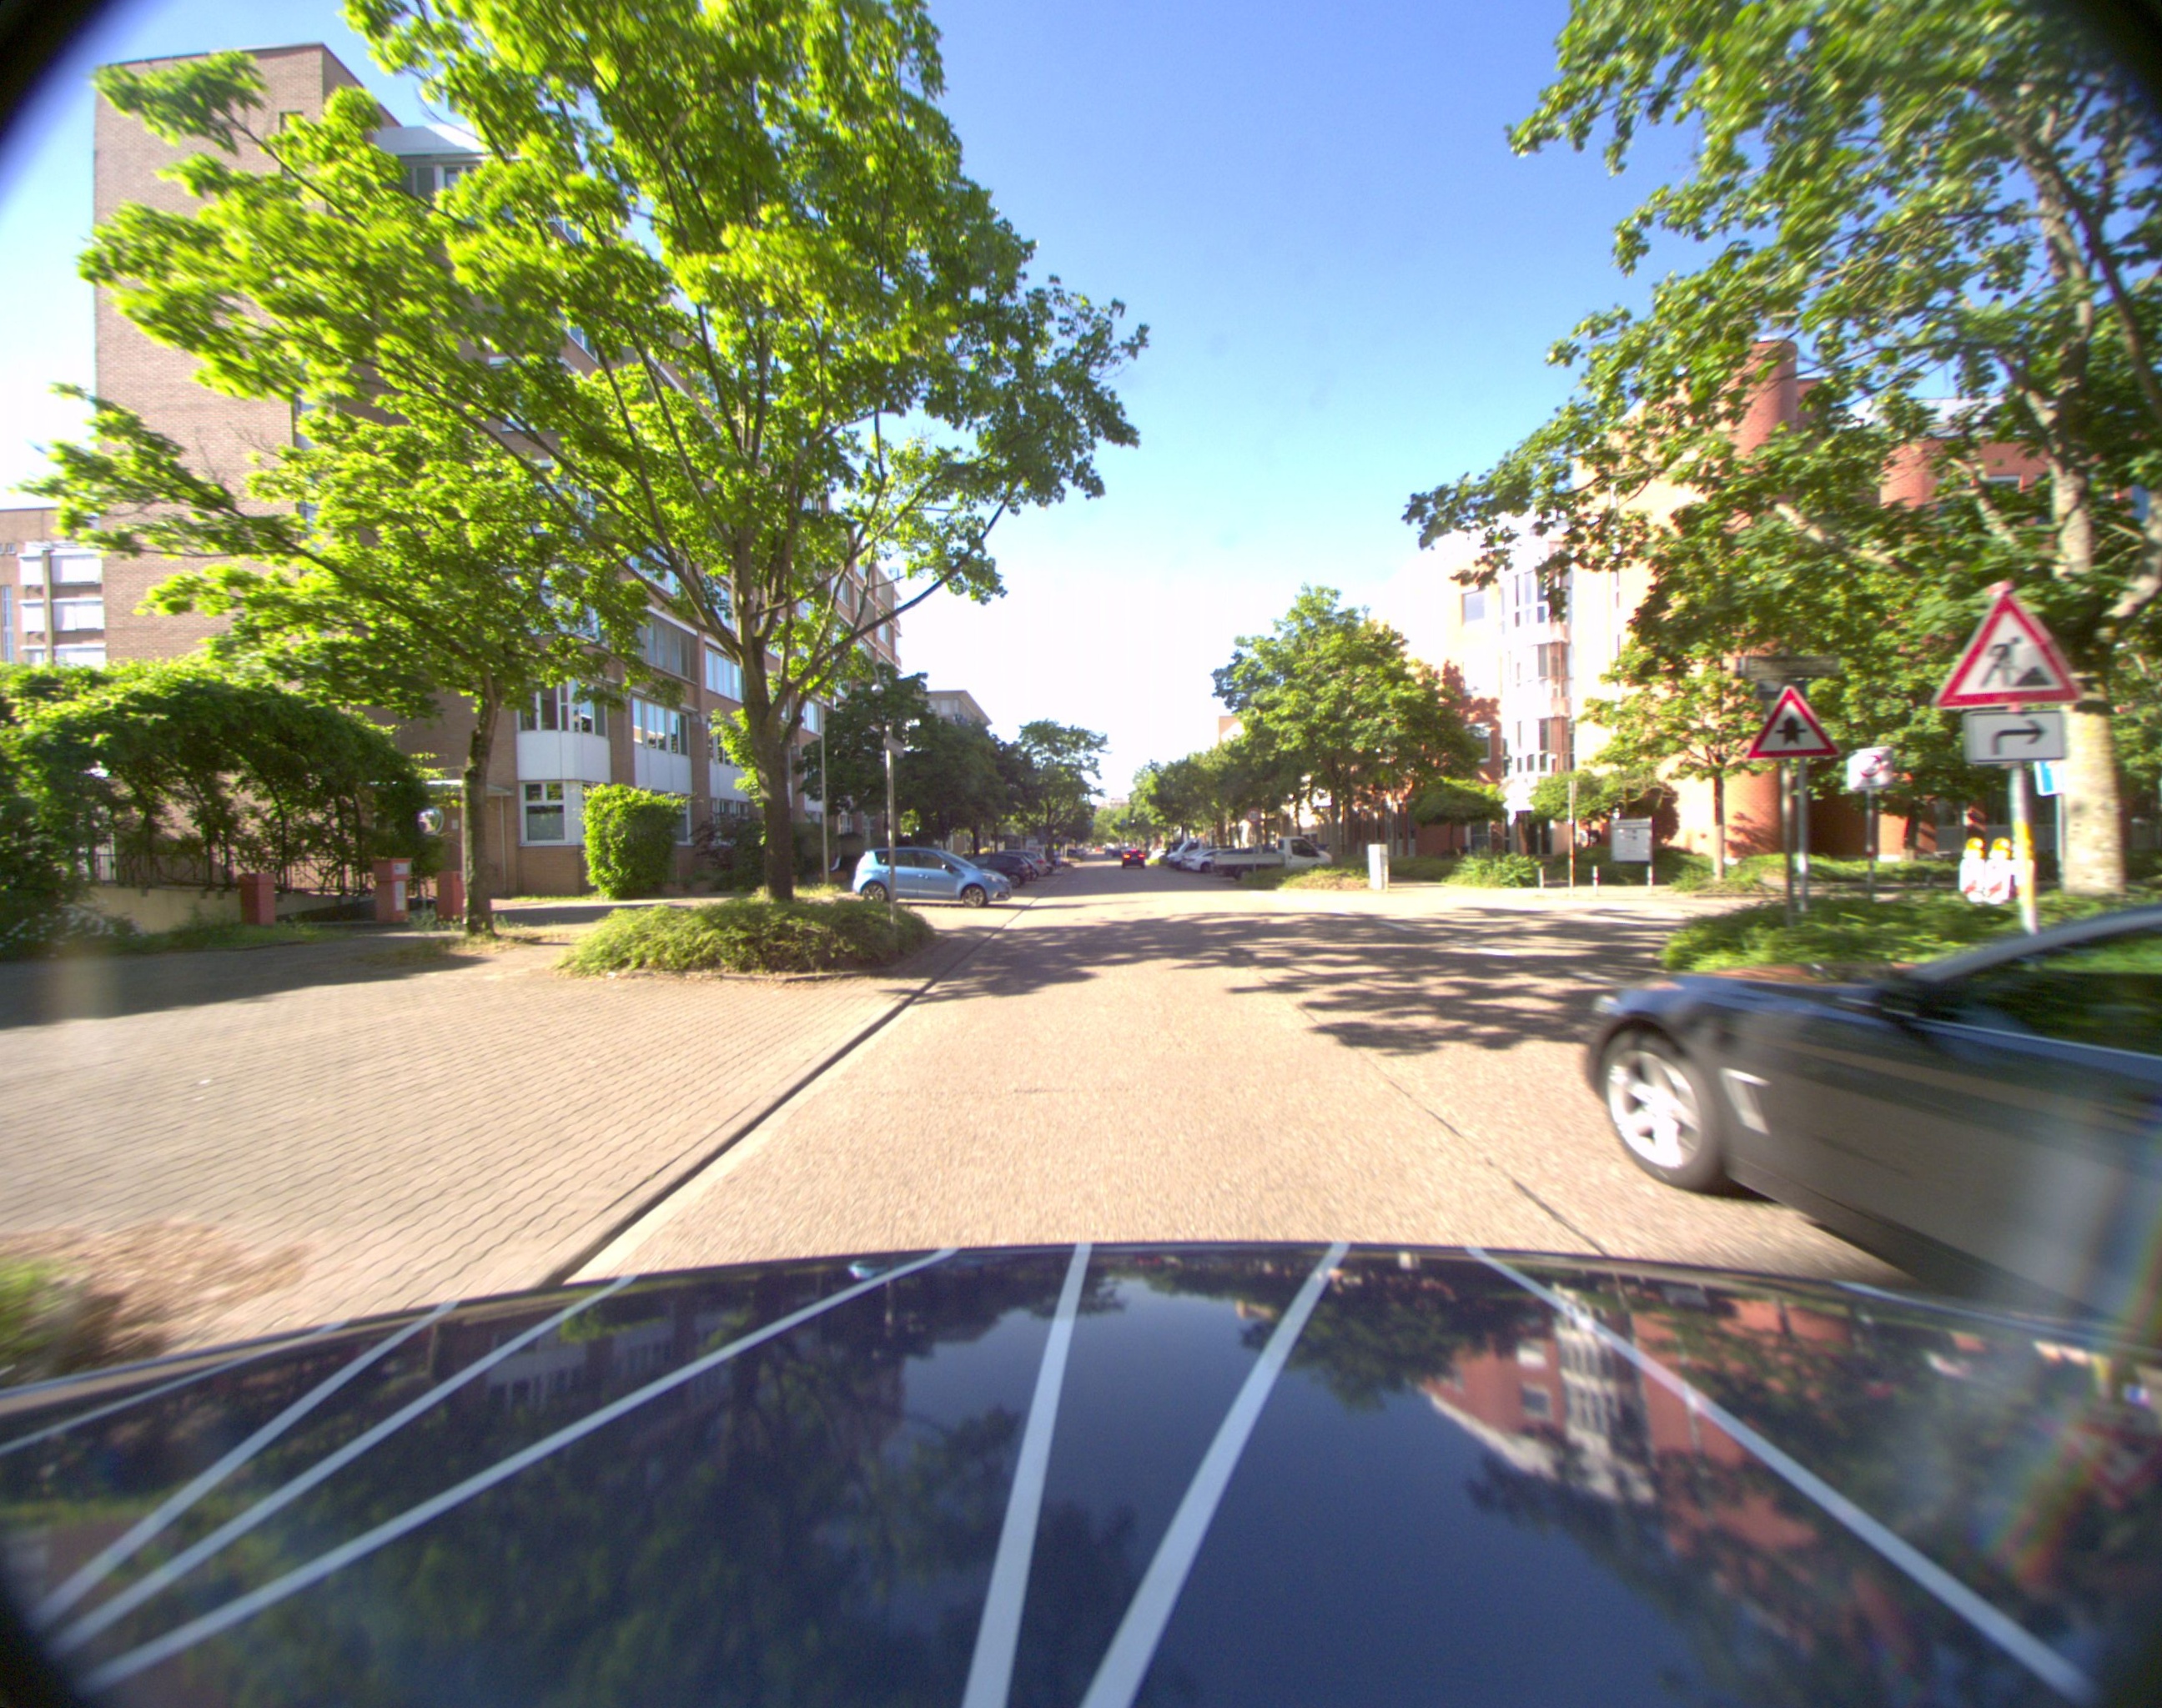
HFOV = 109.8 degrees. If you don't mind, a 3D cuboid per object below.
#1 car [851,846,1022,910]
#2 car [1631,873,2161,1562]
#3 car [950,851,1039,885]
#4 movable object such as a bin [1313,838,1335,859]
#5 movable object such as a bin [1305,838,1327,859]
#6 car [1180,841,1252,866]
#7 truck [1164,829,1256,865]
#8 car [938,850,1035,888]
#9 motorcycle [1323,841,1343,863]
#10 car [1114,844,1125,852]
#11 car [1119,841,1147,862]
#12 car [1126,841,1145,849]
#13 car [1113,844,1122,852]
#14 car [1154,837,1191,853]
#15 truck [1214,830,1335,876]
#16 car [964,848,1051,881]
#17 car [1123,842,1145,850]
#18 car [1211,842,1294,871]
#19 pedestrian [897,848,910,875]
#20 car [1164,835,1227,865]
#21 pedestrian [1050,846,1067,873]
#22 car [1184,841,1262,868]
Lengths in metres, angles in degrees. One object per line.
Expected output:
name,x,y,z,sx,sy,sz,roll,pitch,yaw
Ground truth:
car,-3.986,0.651,21.479,4.416,1.609,1.911,2,1,0
car,3.246,0.827,1.220,1.817,1.407,4.107,-2,1,2
car,-3.866,0.608,34.336,3.810,1.400,1.702,1,0,0
movable object such as a bin,18.750,-0.419,58.598,1.149,1.554,1.243,-1,1,-11
movable object such as a bin,18.515,-0.459,59.892,1.149,1.610,1.440,-1,1,-11
car,9.026,-0.028,50.951,4.438,1.478,2.000,-2,1,0
truck,9.097,-0.515,54.038,6.247,2.408,2.187,-1,1,2
car,-3.963,0.611,32.415,3.856,1.475,1.824,1,0,0
motorcycle,18.215,-0.150,54.880,0.716,1.582,2.109,-1,1,0
car,6.655,-1.042,132.182,1.648,1.412,4.000,-1,1,1
car,4.300,-0.208,63.463,1.897,1.674,4.351,-1,1,-1
car,11.745,-1.936,164.060,4.003,1.411,1.618,-2,1,0
car,7.933,-1.313,166.517,1.784,1.503,4.000,-1,1,1
car,9.880,-0.975,82.510,3.763,1.444,1.754,-3,1,2
truck,8.667,-0.044,34.452,4.996,1.948,2.138,-1,1,3
car,-3.793,0.506,39.613,4.365,1.588,1.938,-1,1,-5
car,12.878,-2.002,186.480,5.317,1.876,2.000,-1,1,2
car,8.914,0.118,39.705,3.995,1.427,1.789,-1,1,5
pedestrian,-9.918,0.422,42.422,0.604,1.512,0.594,-1,1,-1
car,8.898,-0.314,59.422,4.493,2.040,1.999,-3,1,-1
pedestrian,-1.454,0.371,48.578,0.921,1.701,0.697,2,0,-12
car,8.932,0.037,48.049,4.553,1.434,1.890,-3,0,0
